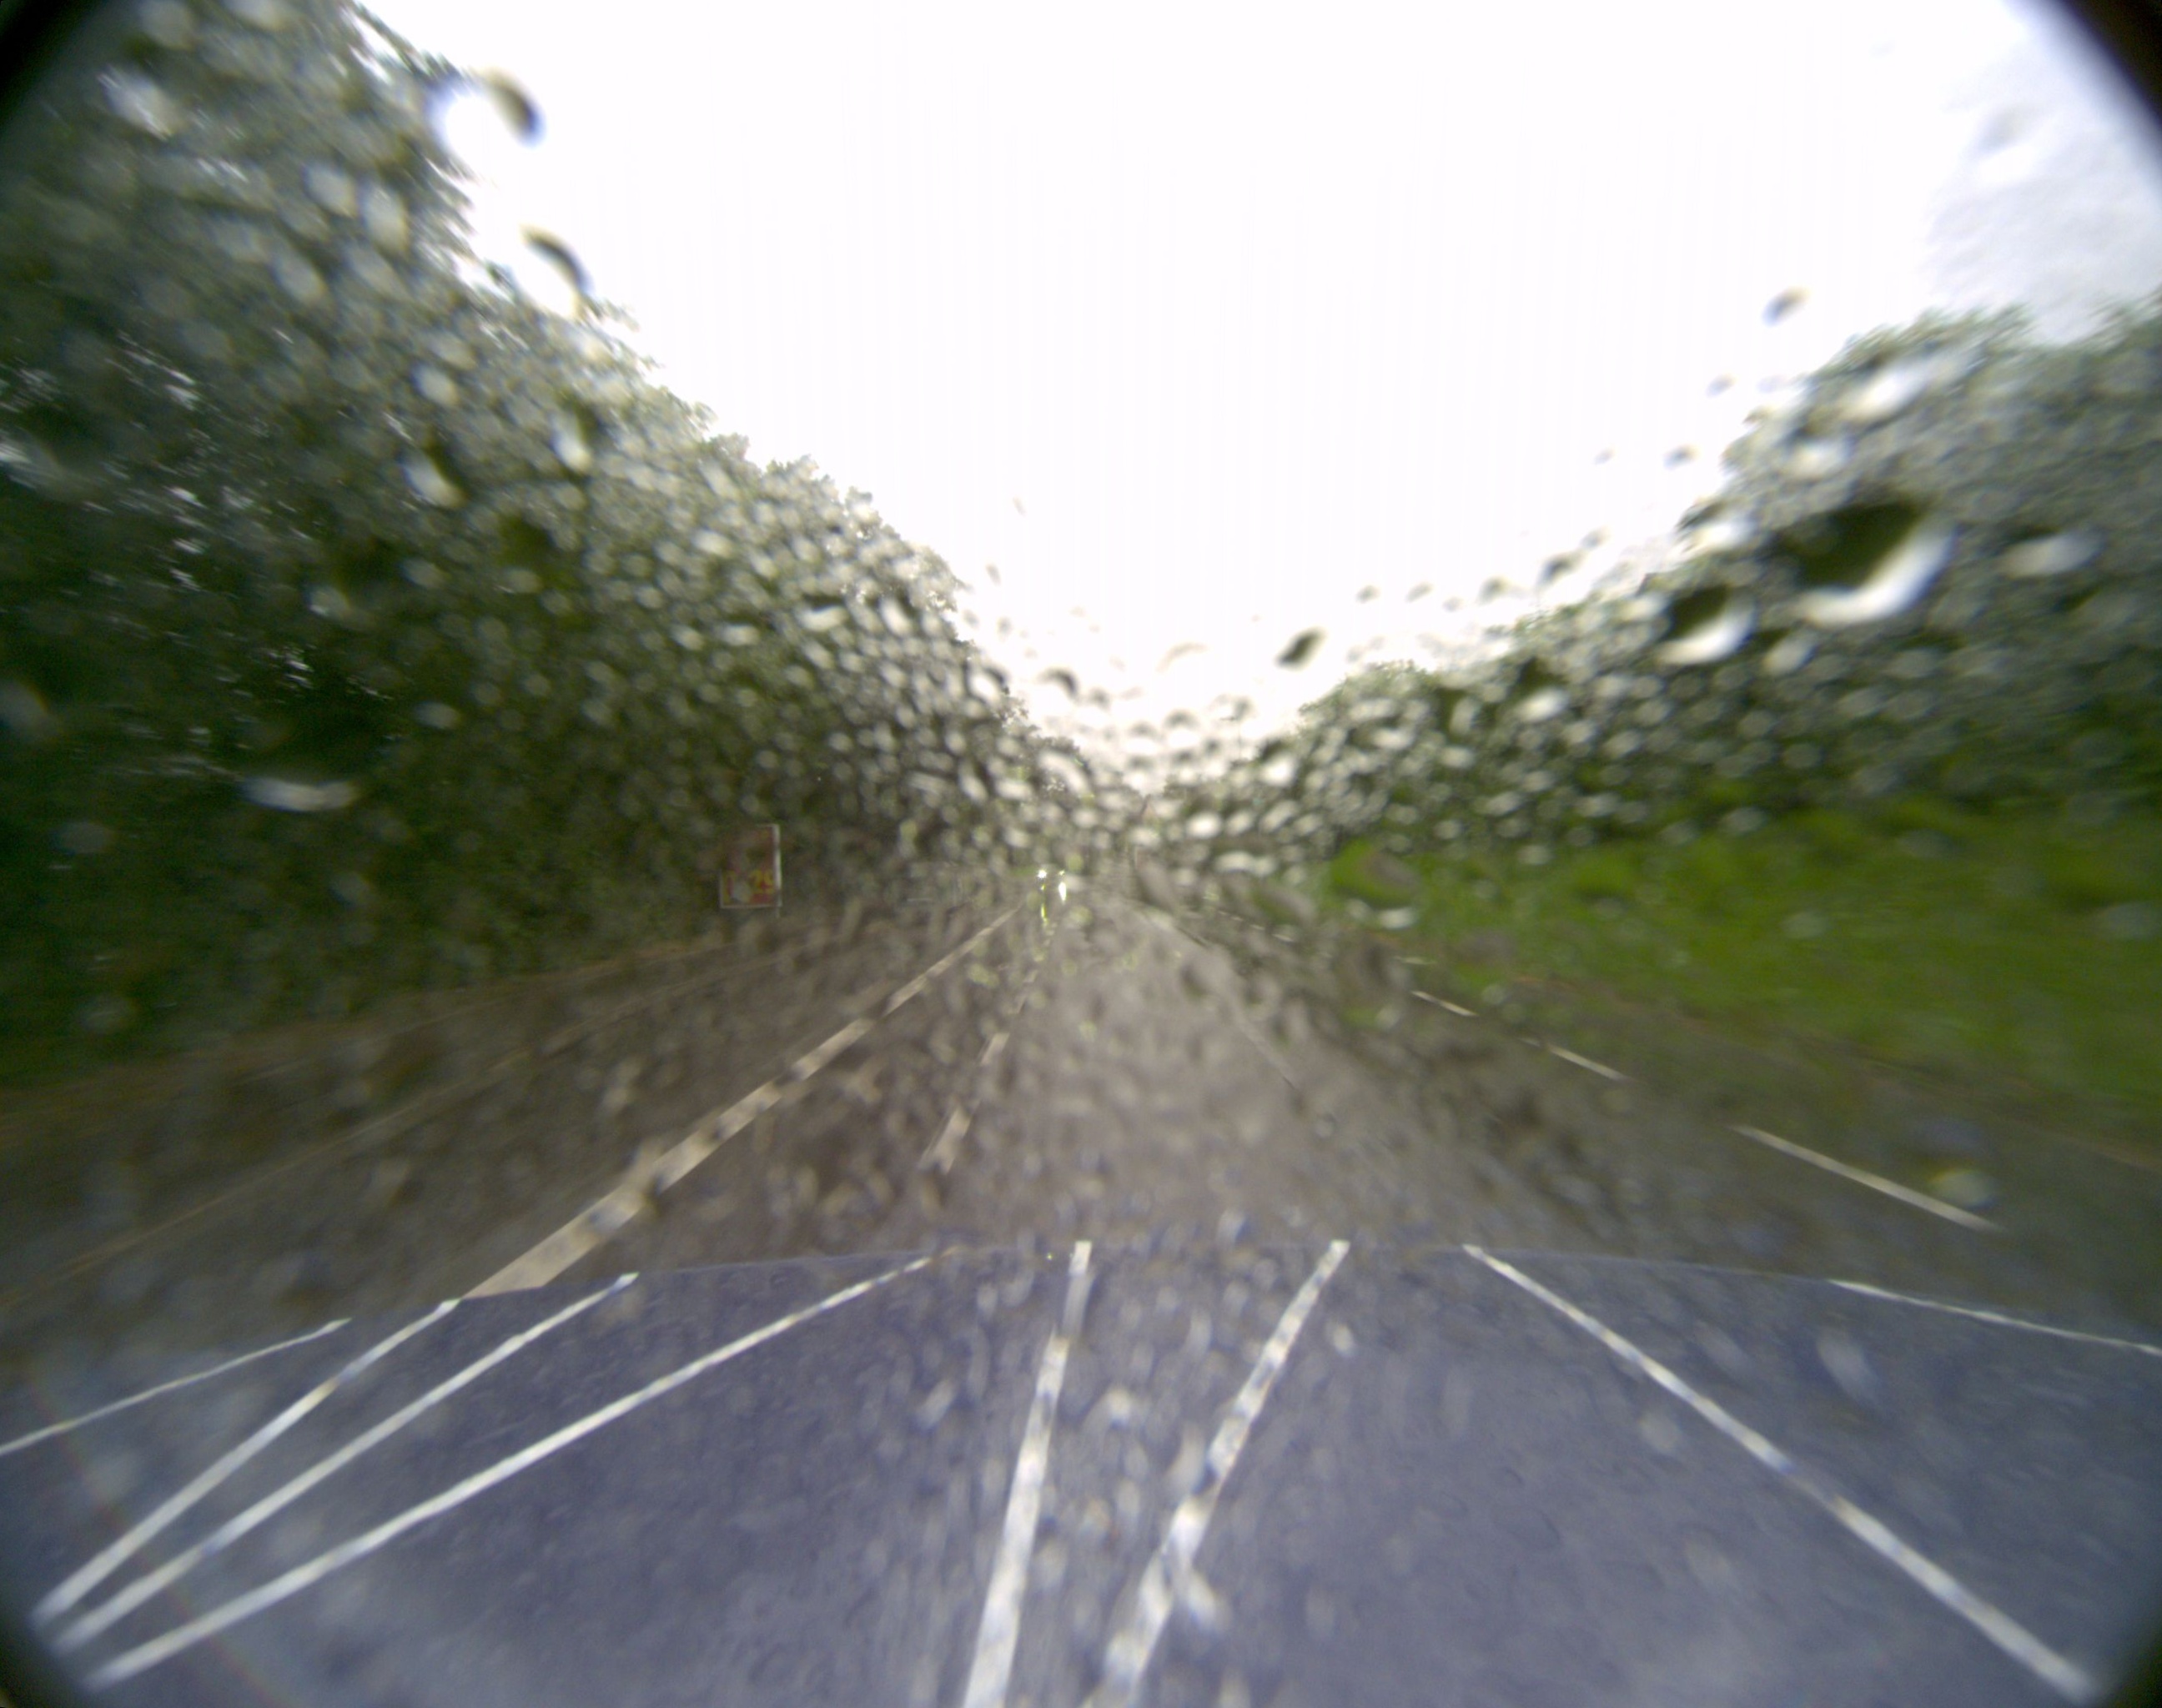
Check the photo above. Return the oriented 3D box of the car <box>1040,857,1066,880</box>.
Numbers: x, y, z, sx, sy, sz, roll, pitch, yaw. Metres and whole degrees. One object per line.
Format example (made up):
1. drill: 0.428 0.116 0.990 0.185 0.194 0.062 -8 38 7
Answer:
1. car: -2.158 1.078 58.011 1.800 1.543 3.998 -2 0 -4
